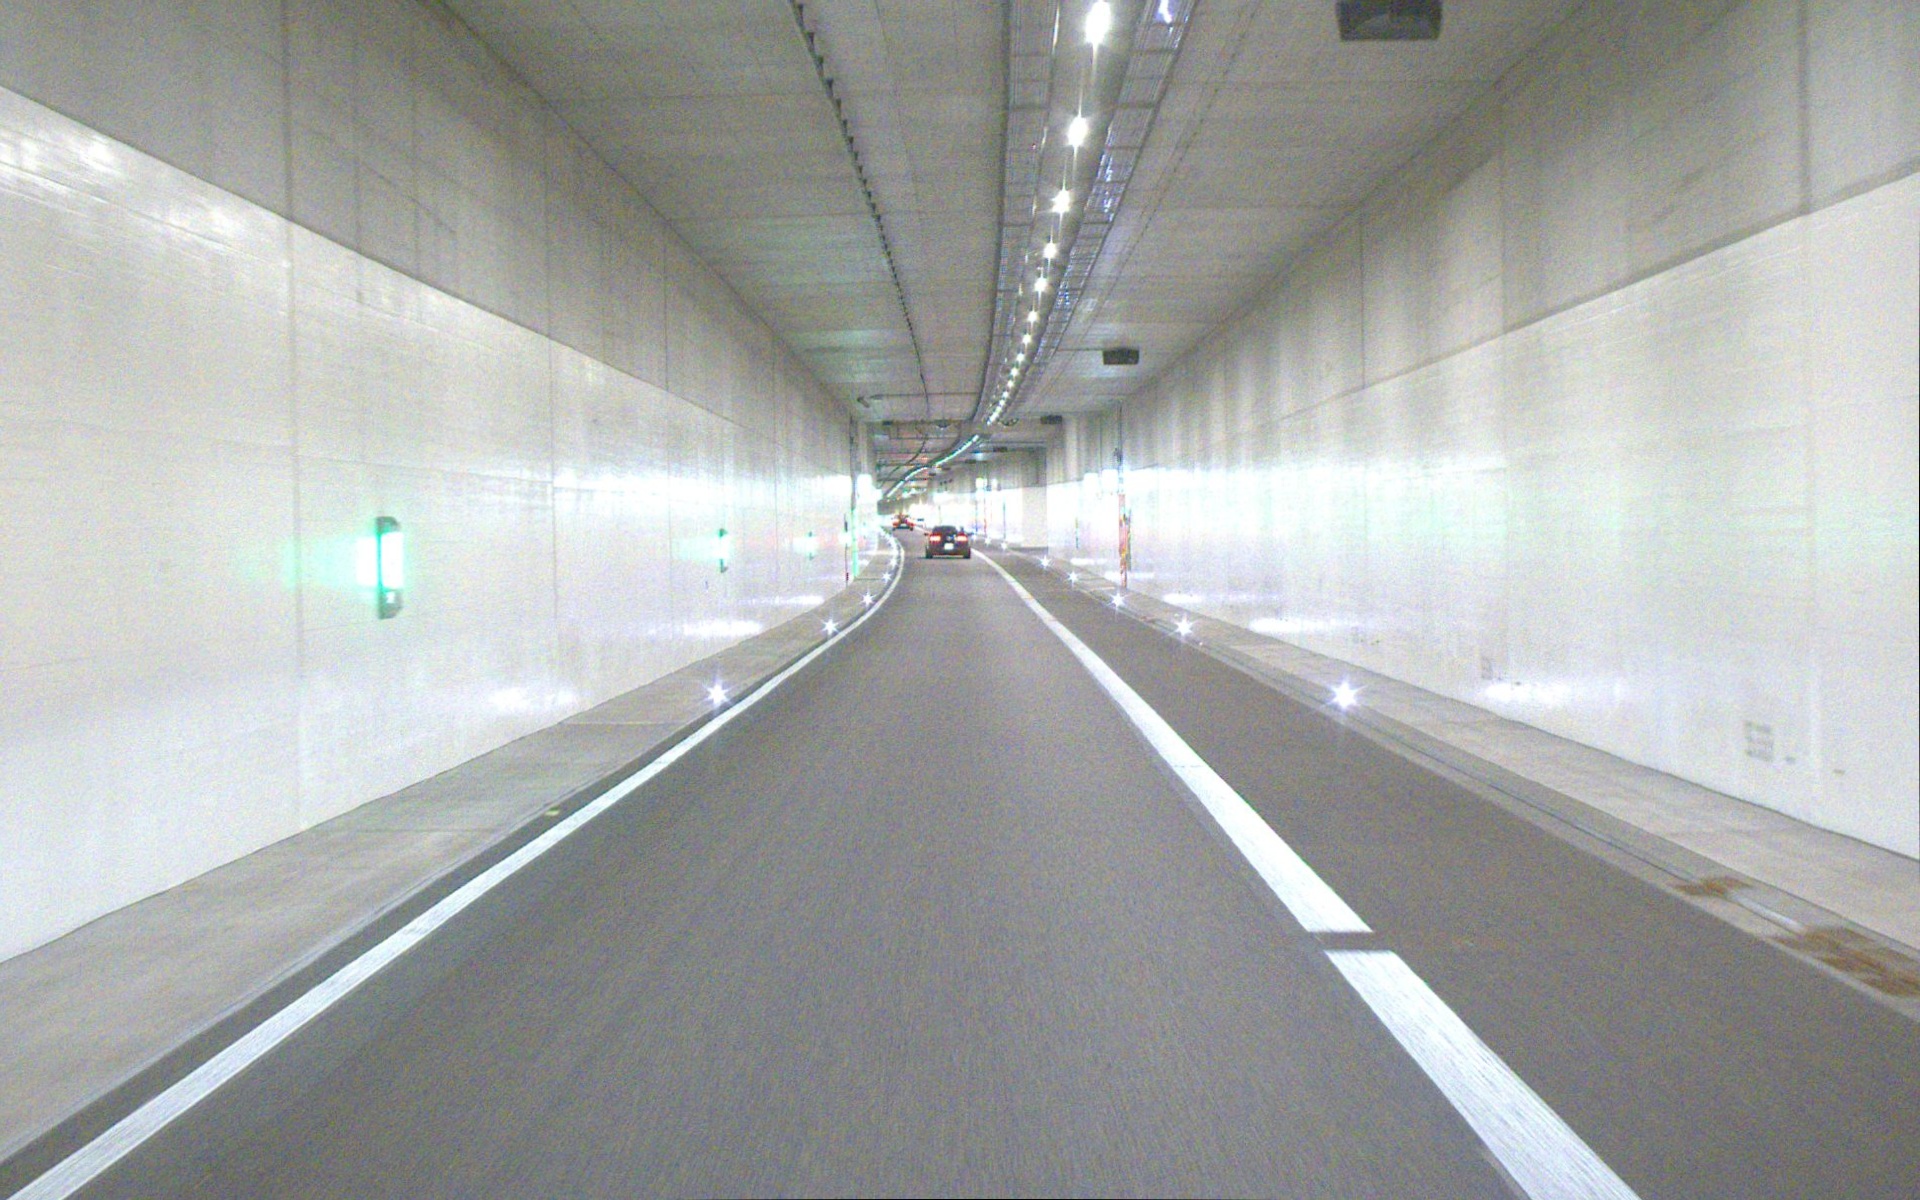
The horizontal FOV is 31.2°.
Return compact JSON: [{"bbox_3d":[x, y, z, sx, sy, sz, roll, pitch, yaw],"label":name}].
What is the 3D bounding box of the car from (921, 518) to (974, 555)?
[{"bbox_3d":[-0.534,-2.671,143.674,1.993,1.415,4.001,4,1,-2],"label":"car"}]
